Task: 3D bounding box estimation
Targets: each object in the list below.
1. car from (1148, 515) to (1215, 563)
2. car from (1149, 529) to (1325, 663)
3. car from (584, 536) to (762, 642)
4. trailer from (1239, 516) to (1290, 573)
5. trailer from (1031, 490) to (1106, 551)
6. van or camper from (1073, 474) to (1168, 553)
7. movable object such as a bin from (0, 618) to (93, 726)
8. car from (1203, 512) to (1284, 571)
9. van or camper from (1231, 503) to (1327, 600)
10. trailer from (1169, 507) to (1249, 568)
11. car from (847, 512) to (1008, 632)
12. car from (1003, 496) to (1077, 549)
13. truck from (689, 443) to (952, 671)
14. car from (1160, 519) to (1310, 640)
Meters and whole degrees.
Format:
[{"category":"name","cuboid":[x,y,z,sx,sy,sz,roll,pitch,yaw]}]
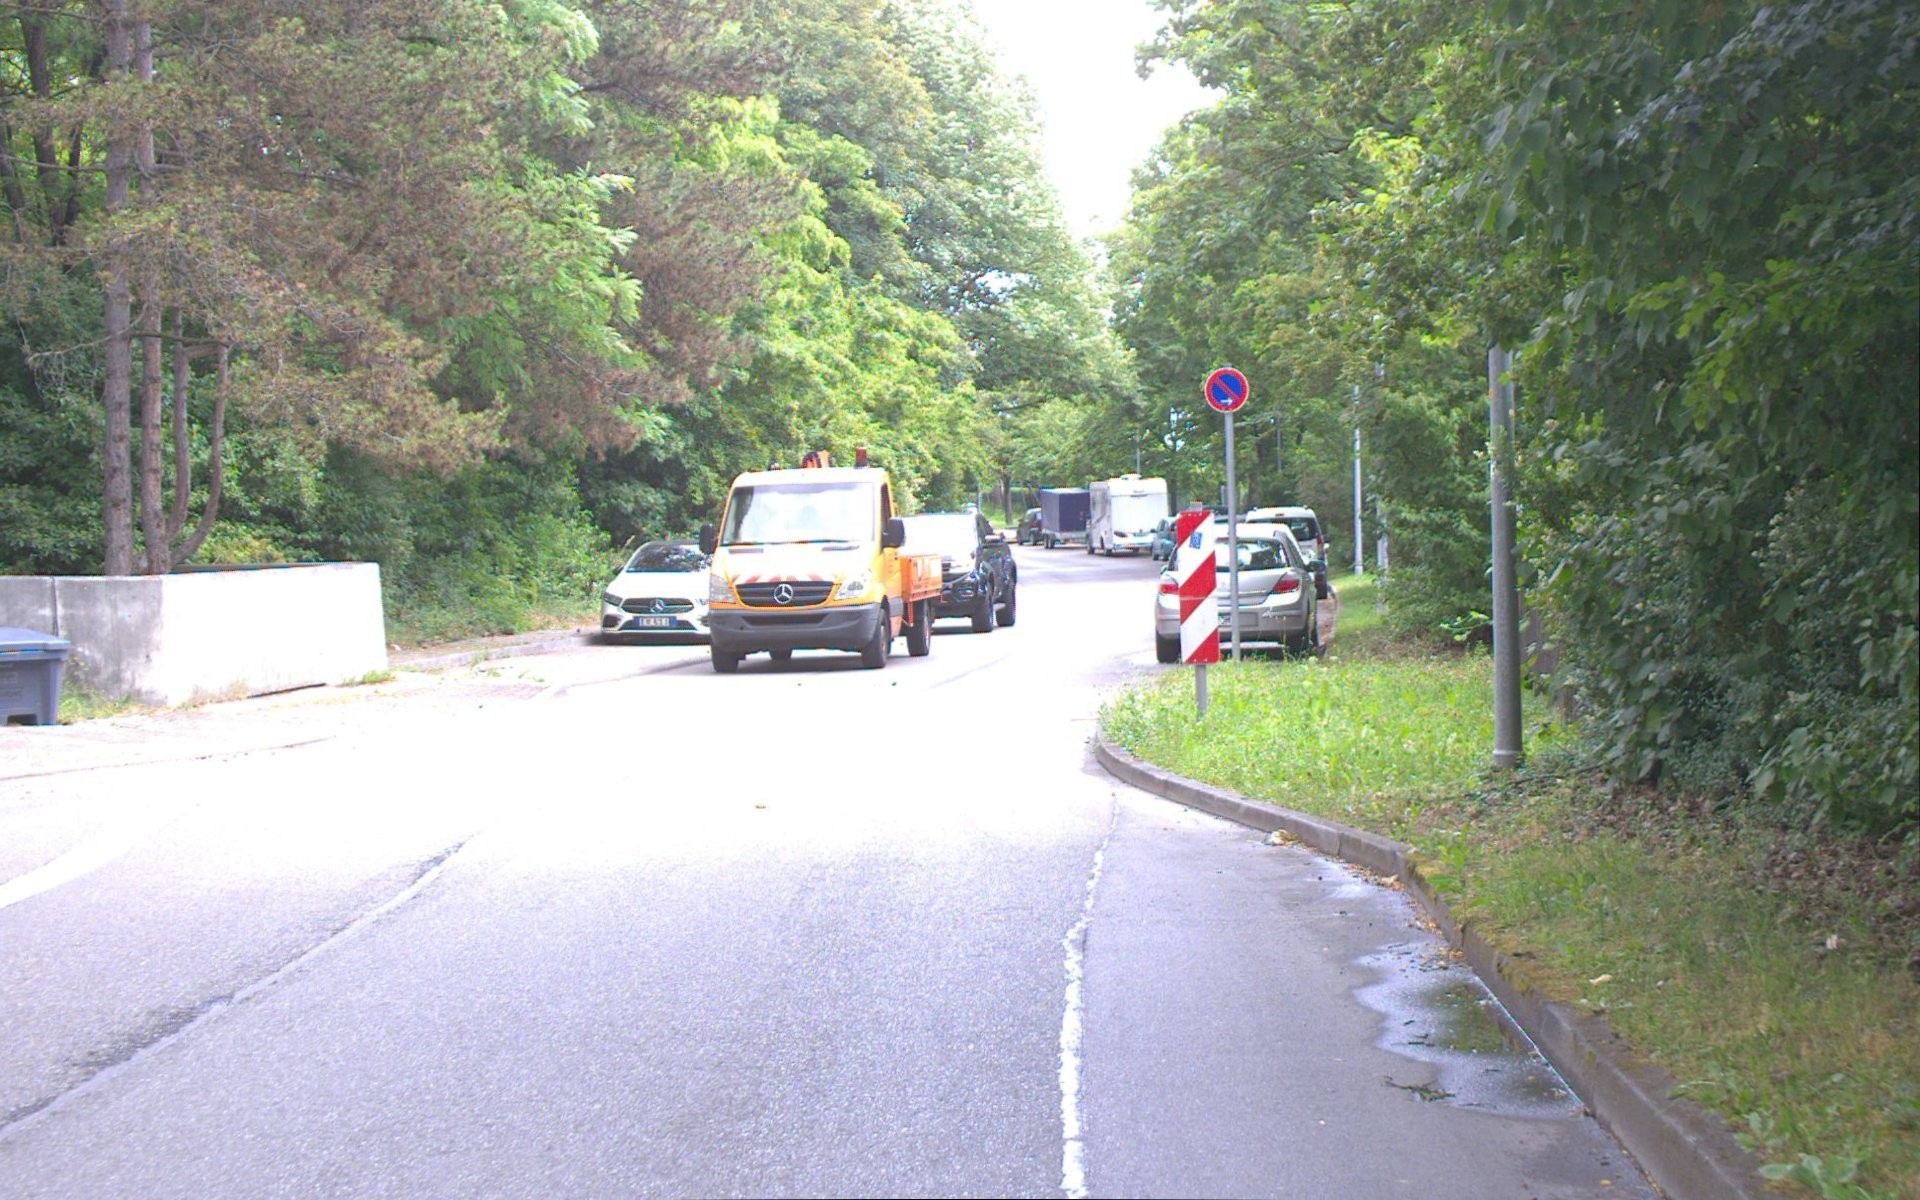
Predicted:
[{"category":"car","cuboid":[7.708,-2.152,119.926,1.799,1.556,3.836,-2,2,-4]},{"category":"car","cuboid":[3.220,-0.087,39.371,1.793,1.406,4.058,-2,1,7]},{"category":"car","cuboid":[-4.031,-0.194,48.931,1.806,1.398,4.371,0,1,5]},{"category":"trailer","cuboid":[8.689,-1.582,98.188,1.278,1.579,2.460,-1,1,1]},{"category":"trailer","cuboid":[4.424,-3.261,141.026,1.993,2.390,4.001,-2,2,-14]},{"category":"van or camper","cuboid":[6.027,-3.263,130.331,2.481,2.866,6.891,-2,1,-6]},{"category":"movable object such as a bin","cuboid":[-7.016,0.516,24.921,1.144,0.758,1.049,1,0,-32]},{"category":"car","cuboid":[8.588,-1.765,104.559,1.792,1.664,4.502,-2,0,-3]},{"category":"van or camper","cuboid":[6.311,-0.933,68.135,1.802,1.831,4.320,-1,0,5]},{"category":"trailer","cuboid":[7.986,-2.036,110.550,1.979,1.805,5.149,-2,2,-2]},{"category":"car","cuboid":[-0.445,-0.464,53.195,1.994,1.729,5.336,-1,1,5]},{"category":"car","cuboid":[3.395,-3.328,146.445,1.993,2.018,4.002,-5,4,-15]},{"category":"truck","cuboid":[-1.537,-0.557,40.513,2.322,2.461,6.020,1,2,5]},{"category":"car","cuboid":[3.791,-0.319,46.793,1.886,1.501,5.175,-1,1,6]}]
